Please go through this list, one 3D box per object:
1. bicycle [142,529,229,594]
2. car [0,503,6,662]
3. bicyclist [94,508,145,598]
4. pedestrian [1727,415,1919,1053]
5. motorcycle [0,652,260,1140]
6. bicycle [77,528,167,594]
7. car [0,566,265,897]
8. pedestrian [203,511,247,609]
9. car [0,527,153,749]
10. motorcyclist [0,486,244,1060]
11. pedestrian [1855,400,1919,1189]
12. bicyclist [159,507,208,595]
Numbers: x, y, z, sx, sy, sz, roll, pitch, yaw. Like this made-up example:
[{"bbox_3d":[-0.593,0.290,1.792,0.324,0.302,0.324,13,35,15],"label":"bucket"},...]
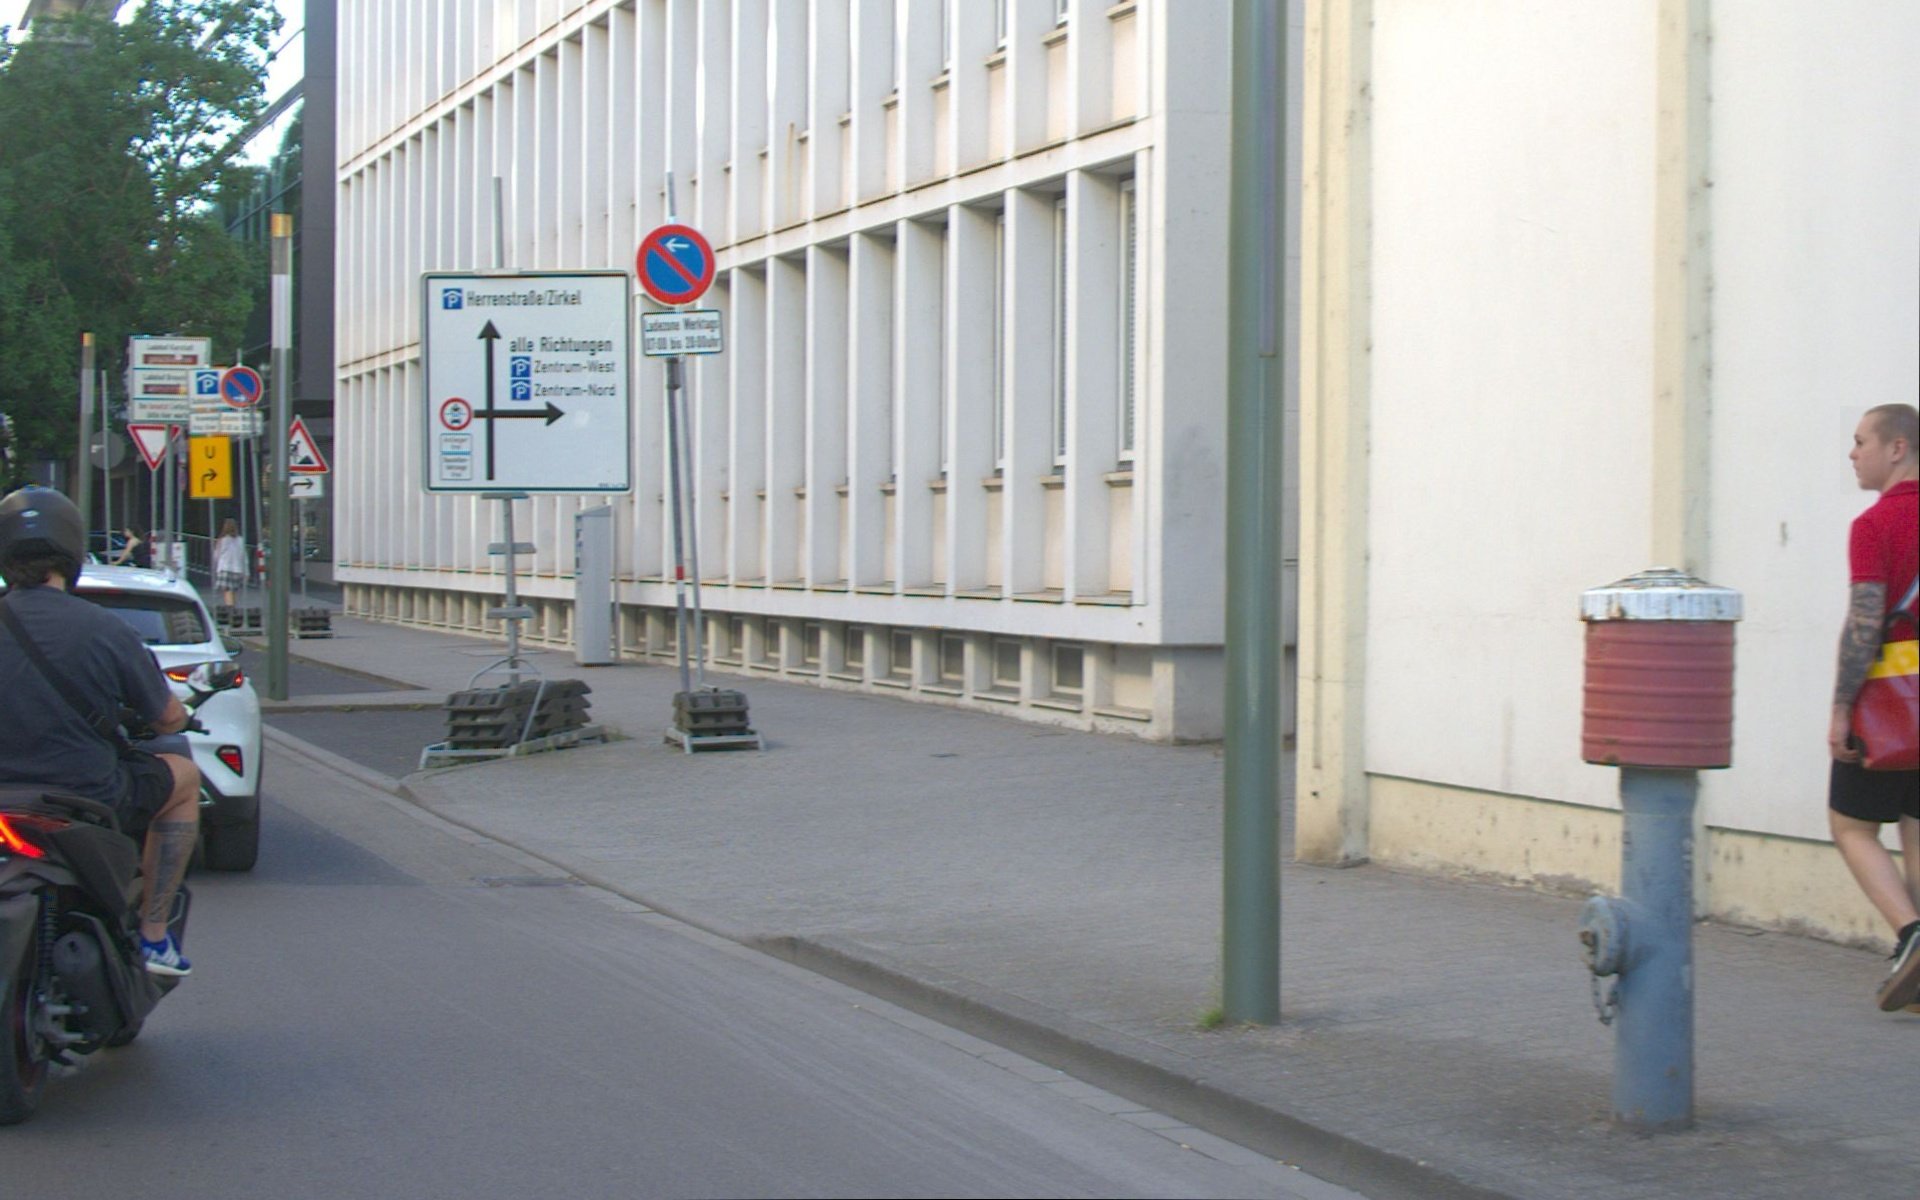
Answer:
[{"bbox_3d":[-15.057,-0.749,66.856,1.563,1.245,0.552,0,1,2],"label":"bicycle"},{"bbox_3d":[-12.692,-0.233,41.706,1.924,1.850,4.001,-1,1,-19],"label":"car"},{"bbox_3d":[-15.994,-0.898,65.434,0.747,1.700,0.737,0,1,3],"label":"bicyclist"},{"bbox_3d":[2.816,0.356,10.155,0.709,1.795,0.776,-3,2,-19],"label":"pedestrian"},{"bbox_3d":[-2.664,0.774,10.014,0.905,1.179,2.579,0,0,-4],"label":"motorcycle"},{"bbox_3d":[-15.945,-0.739,65.398,1.563,1.245,0.552,0,1,2],"label":"bicycle"},{"bbox_3d":[-4.676,0.588,17.718,1.858,1.467,4.001,1,1,-15],"label":"car"},{"bbox_3d":[-12.090,-0.660,56.551,0.642,1.596,0.620,-1,1,-16],"label":"pedestrian"},{"bbox_3d":[-7.212,0.227,26.089,1.773,1.545,4.108,-1,1,-18],"label":"car"},{"bbox_3d":[-2.645,0.466,9.953,0.954,1.554,1.239,0,0,-4],"label":"motorcyclist"},{"bbox_3d":[2.643,0.437,7.478,0.714,1.795,1.247,-3,2,-19],"label":"pedestrian"},{"bbox_3d":[-15.095,-0.952,66.849,0.747,1.700,0.737,0,1,3],"label":"bicyclist"}]
